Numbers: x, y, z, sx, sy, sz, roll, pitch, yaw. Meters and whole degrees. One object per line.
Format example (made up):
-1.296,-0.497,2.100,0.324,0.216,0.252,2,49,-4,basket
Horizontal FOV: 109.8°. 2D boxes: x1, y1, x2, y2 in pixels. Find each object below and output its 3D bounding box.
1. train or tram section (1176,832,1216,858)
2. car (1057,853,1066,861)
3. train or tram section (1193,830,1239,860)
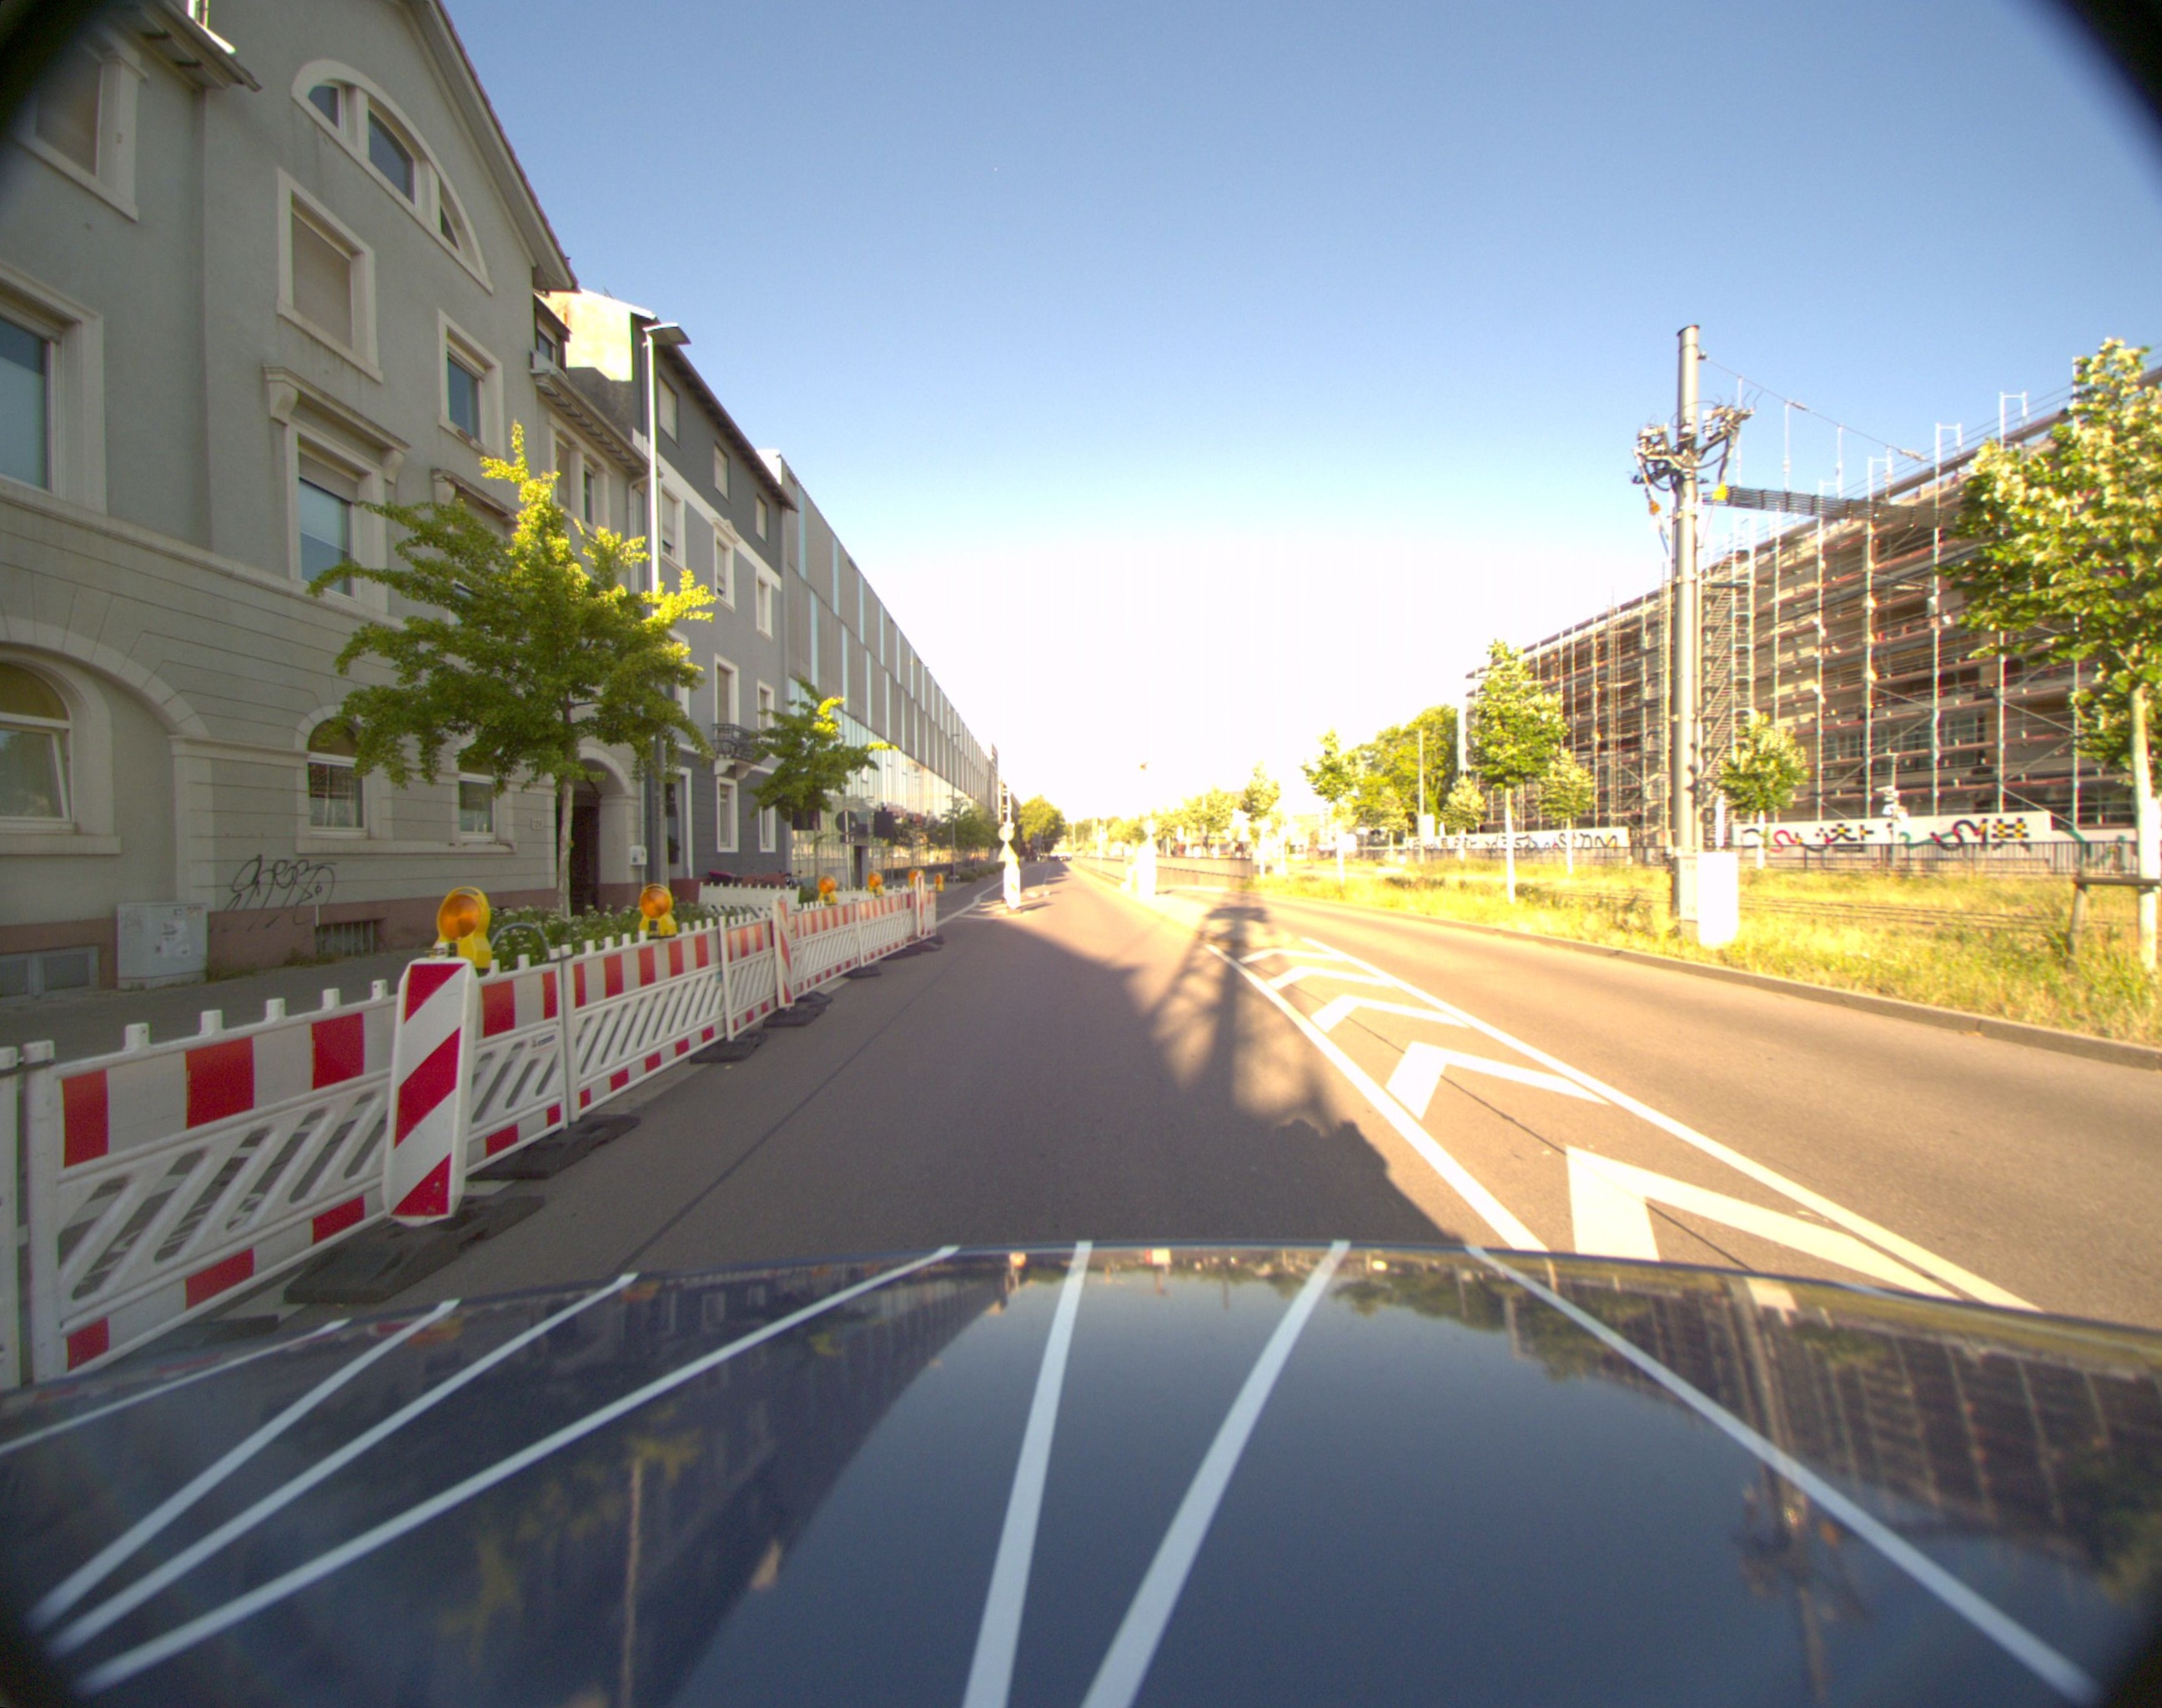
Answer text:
16.097,-1.226,107.799,2.954,3.378,14.761,-2,1,-2,train or tram section
-4.853,0.799,187.226,1.941,2.002,3.825,-1,0,-3,car
16.490,-1.093,94.067,2.954,3.378,12.630,-2,1,-2,train or tram section
